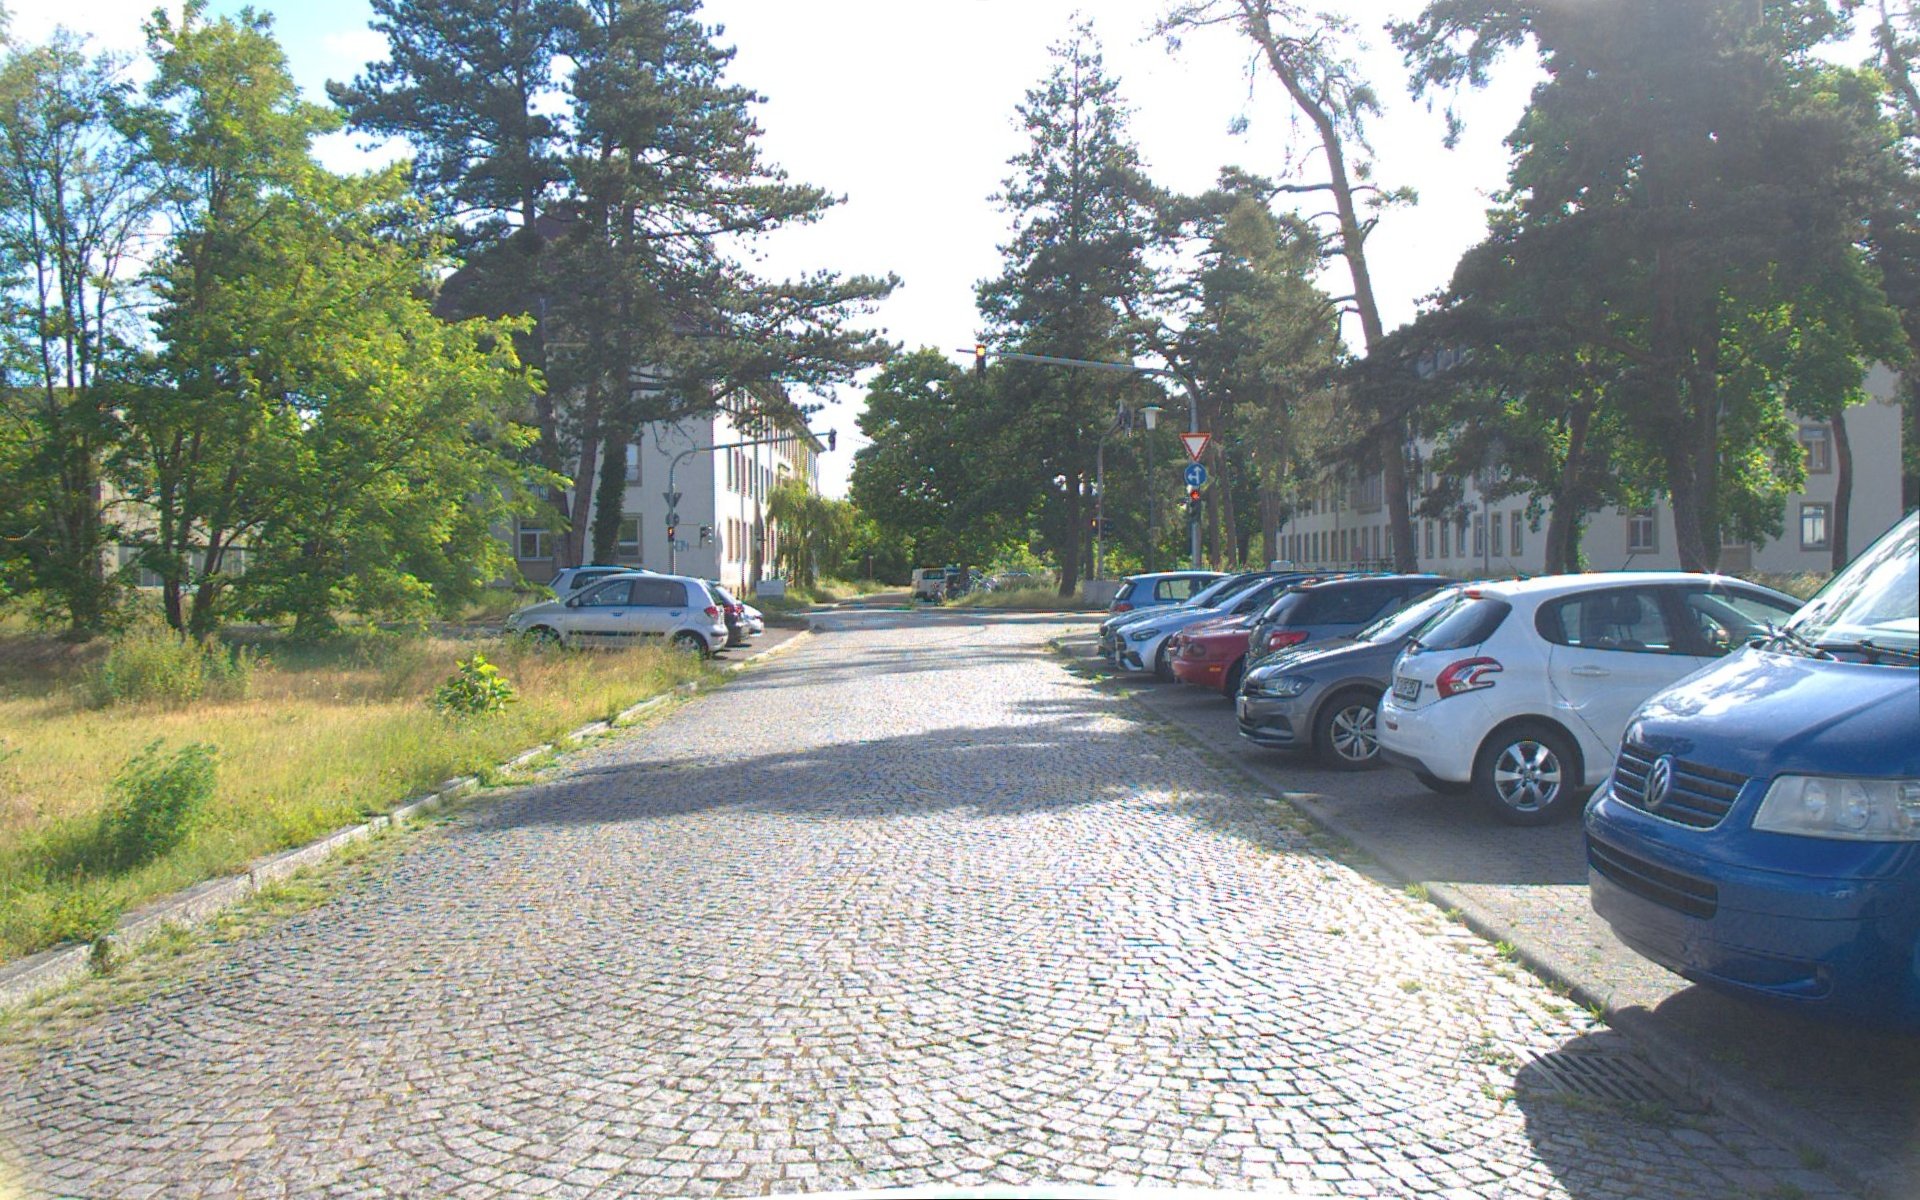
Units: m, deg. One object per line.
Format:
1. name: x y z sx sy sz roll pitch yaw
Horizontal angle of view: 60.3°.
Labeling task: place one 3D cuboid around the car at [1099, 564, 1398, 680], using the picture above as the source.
1. car: 4.102 0.285 23.848 3.955 1.556 1.644 -1 1 -5

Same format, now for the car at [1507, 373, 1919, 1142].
1. car: 4.505 0.369 5.619 4.584 2.049 2.082 -1 1 -4

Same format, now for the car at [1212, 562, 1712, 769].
1. car: 4.047 0.491 13.698 3.601 1.492 1.645 -2 1 -3

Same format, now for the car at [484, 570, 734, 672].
1. car: -5.916 0.322 28.279 3.908 1.628 1.999 -1 1 -4

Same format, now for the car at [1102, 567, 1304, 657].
1. car: 4.251 0.191 29.263 3.276 1.508 1.645 -1 1 -3

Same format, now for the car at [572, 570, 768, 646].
1. car: -6.263 0.153 36.062 3.906 1.478 2.000 2 1 -2

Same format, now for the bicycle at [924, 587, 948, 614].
1. bicycle: -1.091 0.012 74.692 0.789 1.190 2.177 -2 1 -7

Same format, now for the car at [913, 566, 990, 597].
1. car: -0.494 -1.052 95.628 4.390 1.758 2.000 0 1 -2

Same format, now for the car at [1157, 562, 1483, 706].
1. car: 4.129 0.361 19.309 3.408 1.556 1.645 -1 1 -3

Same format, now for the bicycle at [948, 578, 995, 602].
1. bicycle: 0.561 -0.498 79.319 2.134 1.119 0.805 0 1 -11

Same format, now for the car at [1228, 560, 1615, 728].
1. car: 4.551 0.404 16.626 3.408 1.556 1.645 -1 1 -3

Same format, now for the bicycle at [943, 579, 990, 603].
1. bicycle: 0.315 -0.435 78.177 2.134 1.119 0.805 0 1 -11

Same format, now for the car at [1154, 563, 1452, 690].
1. car: 4.424 0.318 21.673 3.530 1.556 1.645 -1 1 -3

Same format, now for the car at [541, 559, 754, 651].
1. car: -6.290 0.090 33.659 3.907 1.629 2.000 3 1 -2

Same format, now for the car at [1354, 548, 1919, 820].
1. car: 4.606 0.483 10.821 3.619 1.491 1.645 -3 1 0

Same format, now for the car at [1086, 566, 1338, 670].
1. car: 4.002 0.263 26.618 3.758 1.556 1.645 -1 1 -3
